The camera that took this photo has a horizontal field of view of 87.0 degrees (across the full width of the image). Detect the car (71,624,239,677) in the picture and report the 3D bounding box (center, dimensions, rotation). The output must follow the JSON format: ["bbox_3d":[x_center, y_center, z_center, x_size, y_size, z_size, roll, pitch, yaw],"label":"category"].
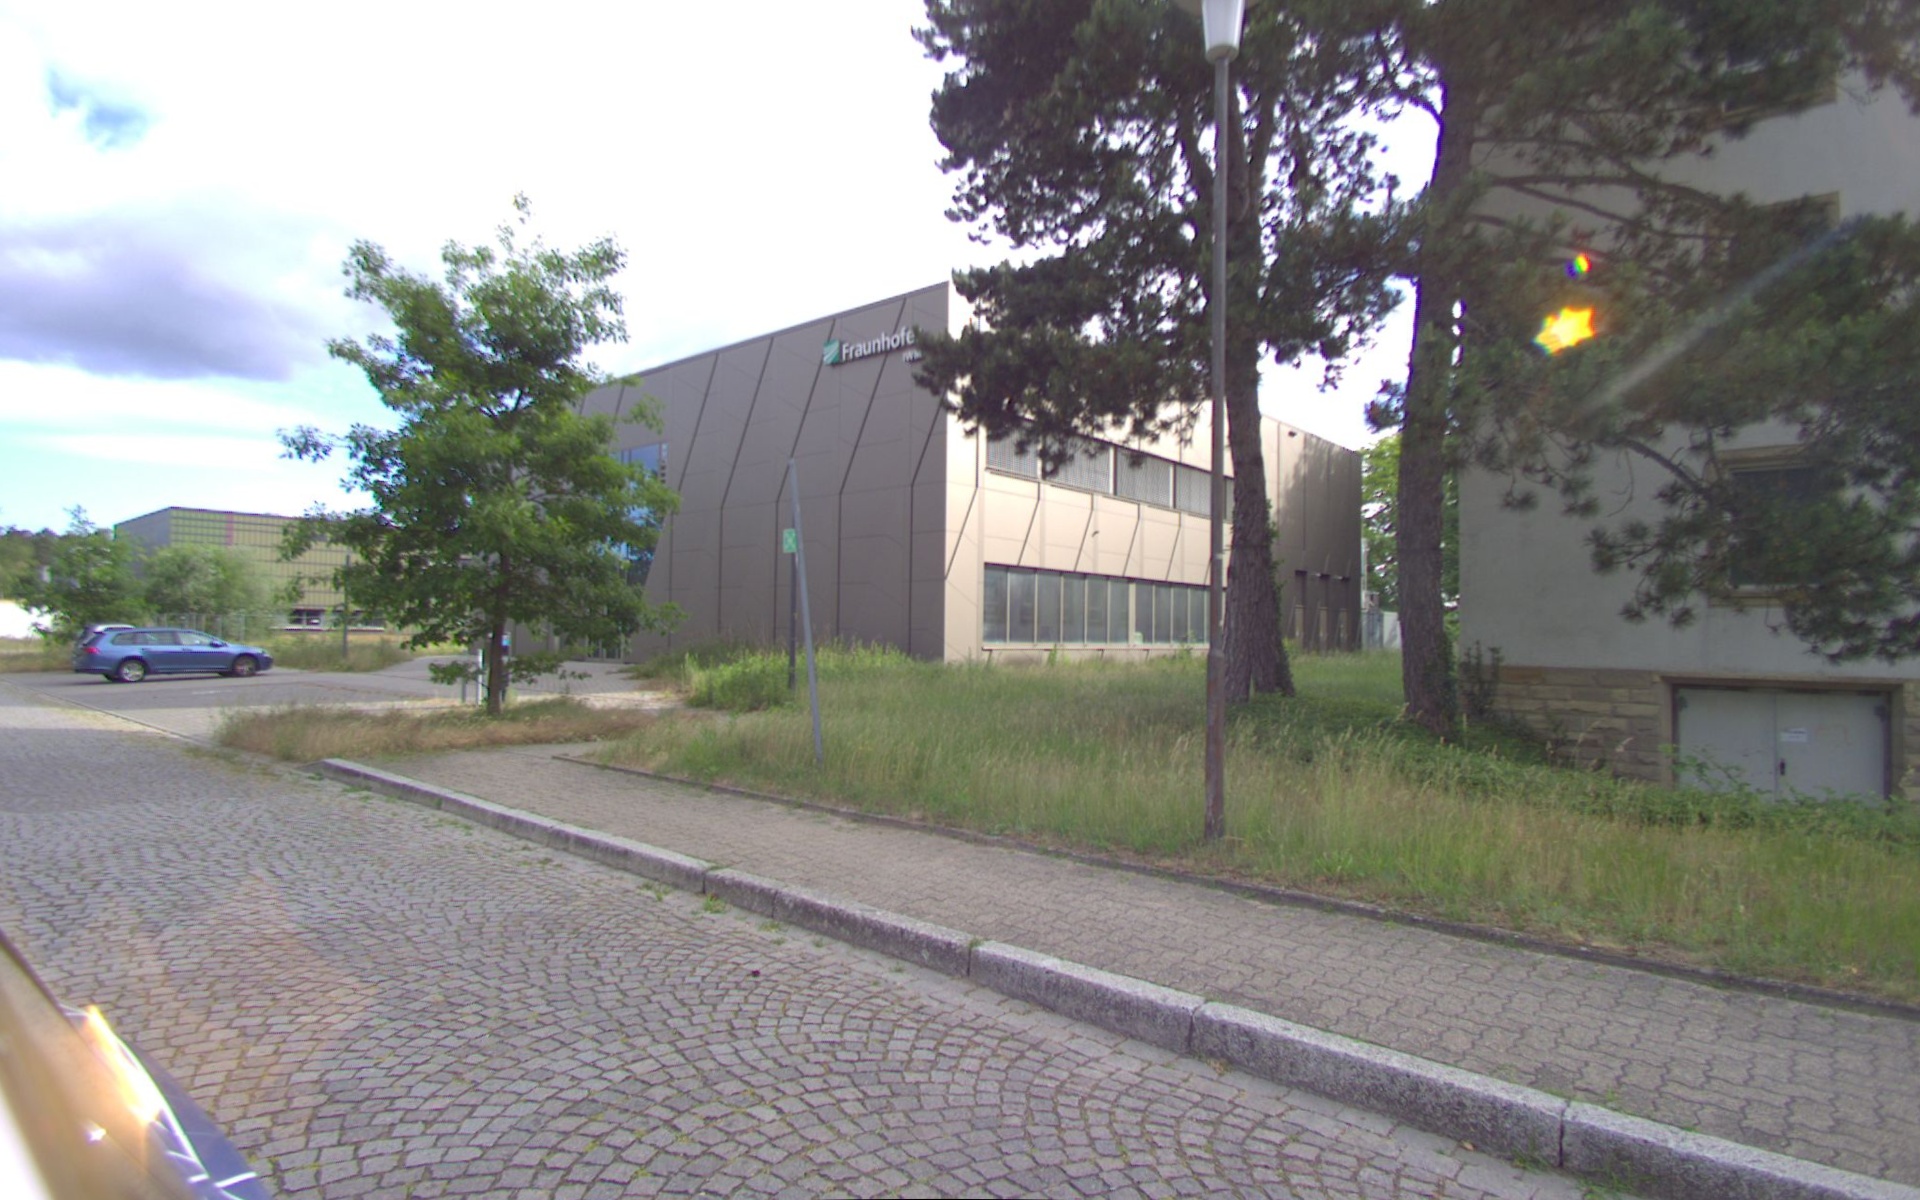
[{"bbox_3d":[-27.093,1.654,34.141,4.339,1.557,1.843,0,-1,-43],"label":"car"}]

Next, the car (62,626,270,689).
[{"bbox_3d":[-22.273,1.564,28.552,1.715,1.522,4.350,-1,0,38],"label":"car"}]
